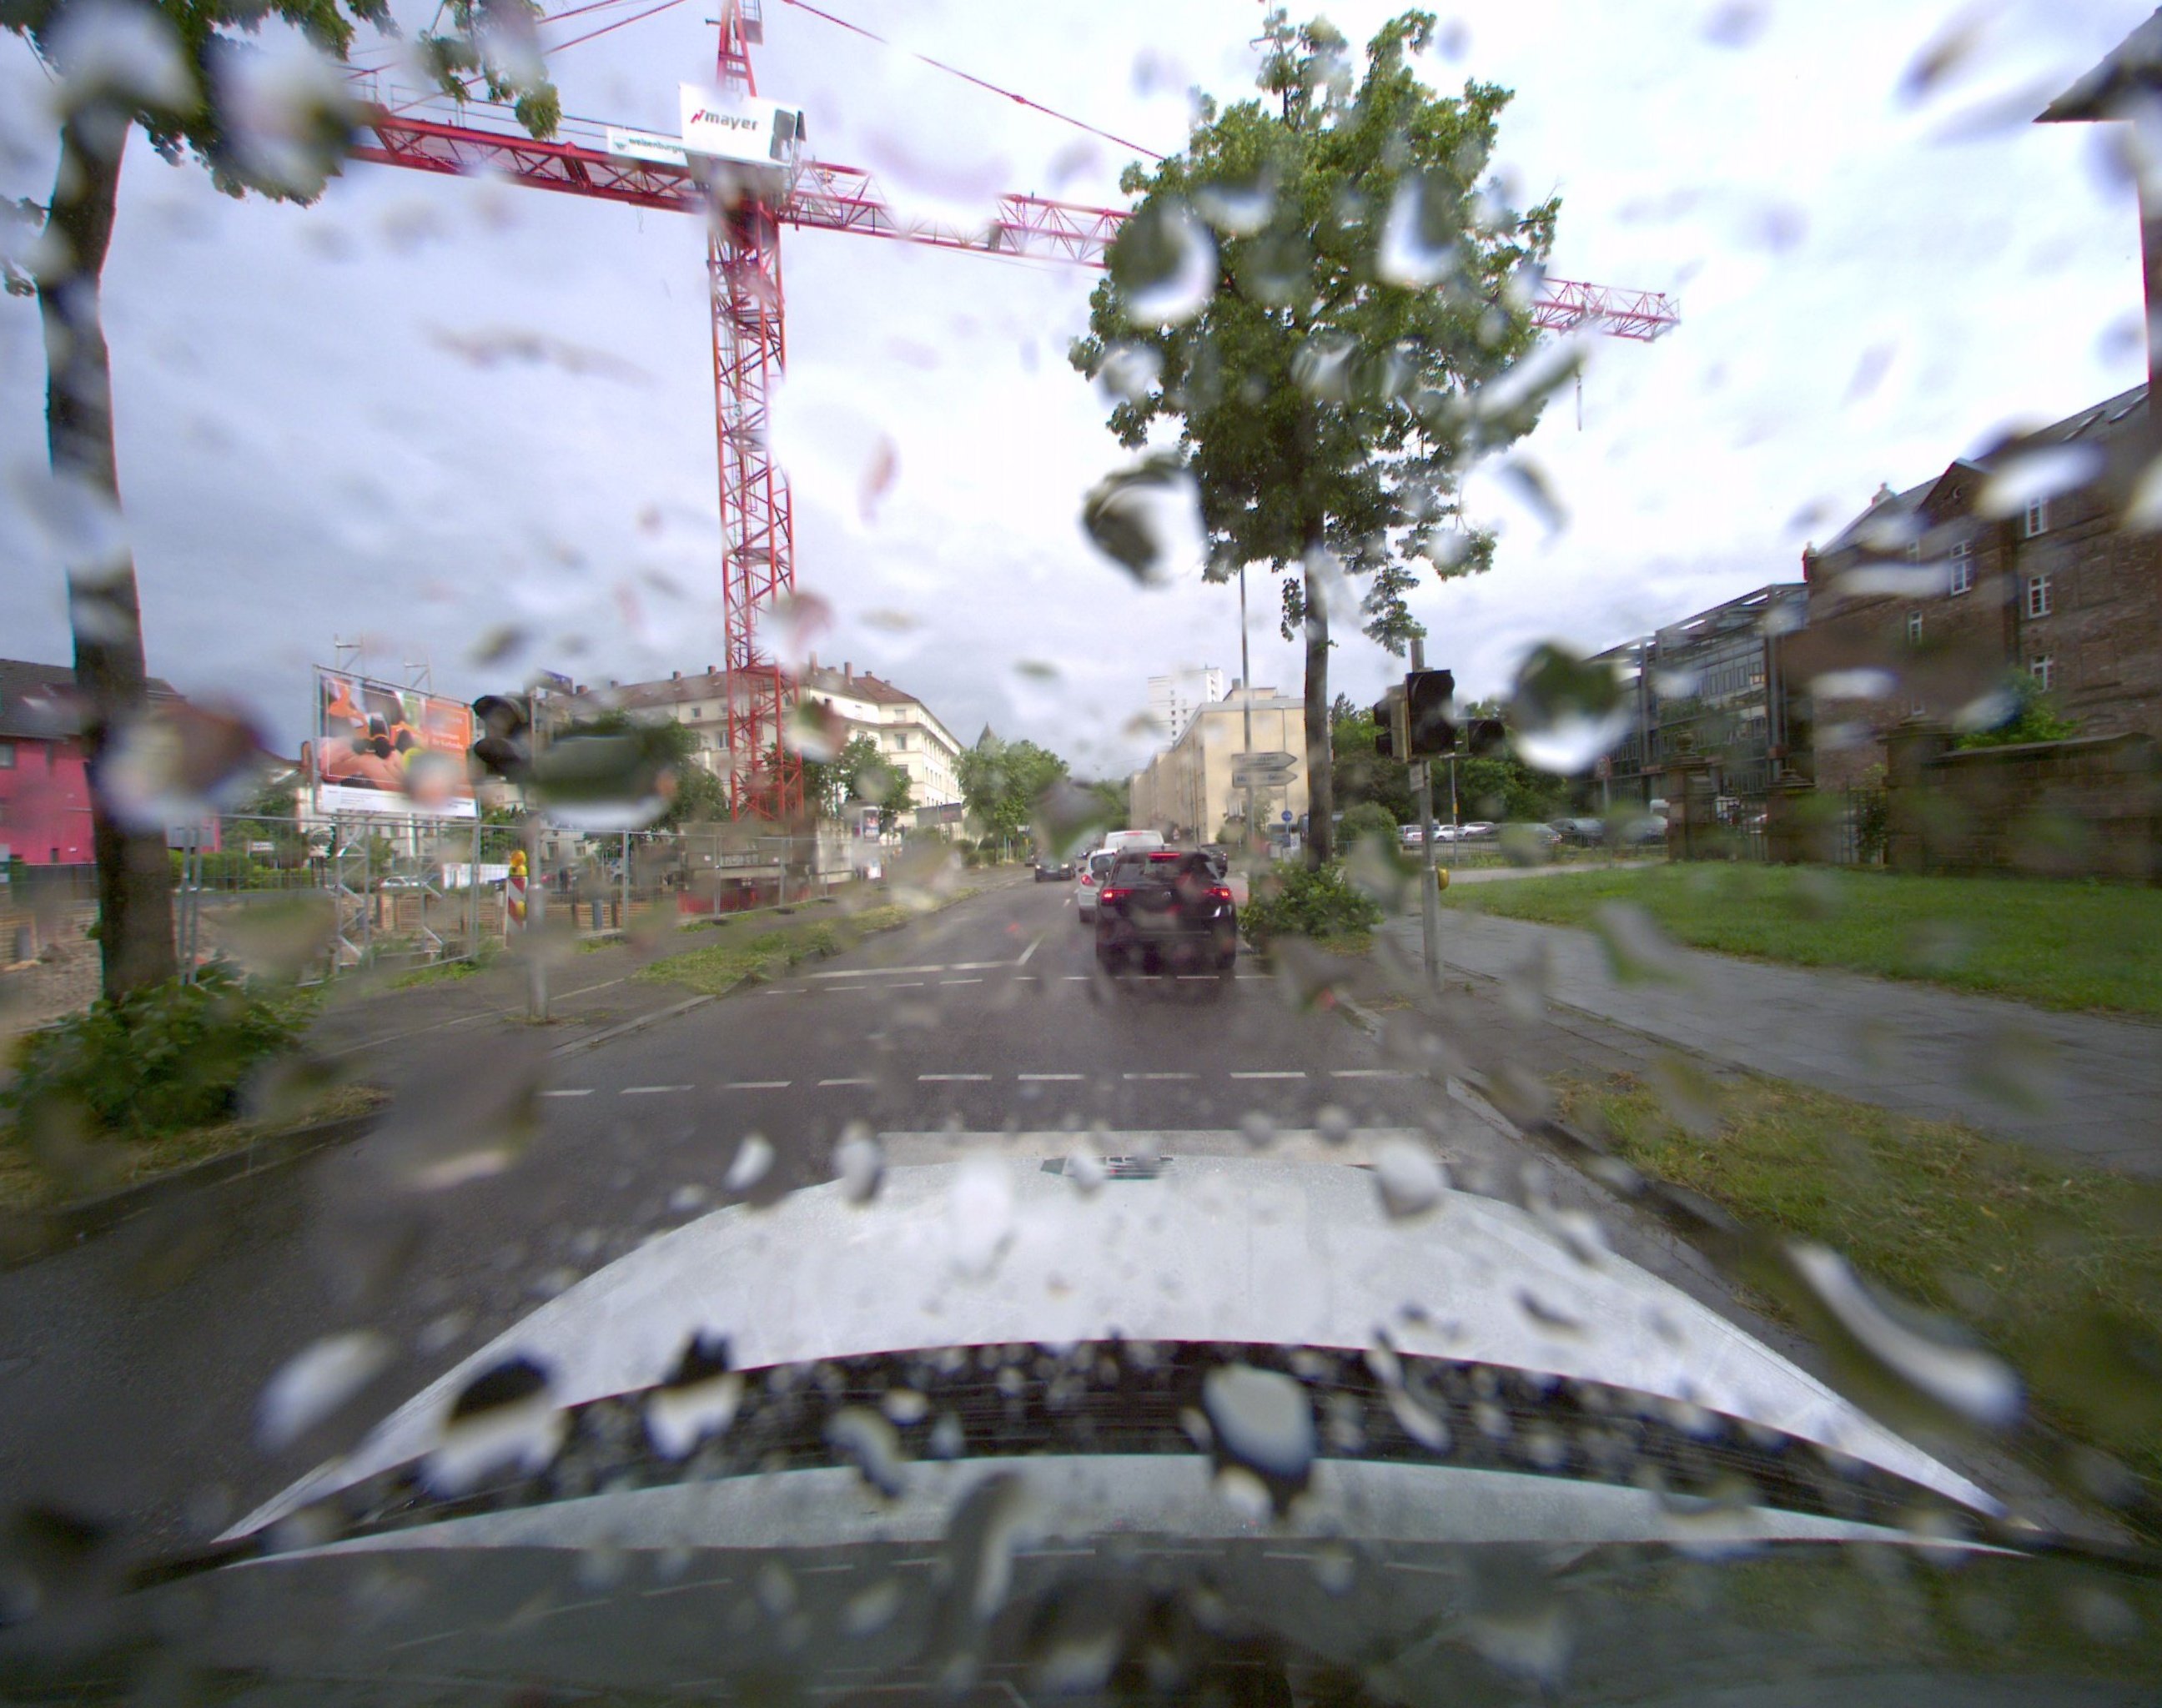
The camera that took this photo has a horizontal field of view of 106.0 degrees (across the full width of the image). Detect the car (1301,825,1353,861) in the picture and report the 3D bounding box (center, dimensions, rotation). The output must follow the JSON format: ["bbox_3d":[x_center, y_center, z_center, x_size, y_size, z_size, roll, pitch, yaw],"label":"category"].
[{"bbox_3d":[13.188,-0.583,43.891,1.795,1.749,4.244,-3,1,5],"label":"car"}]

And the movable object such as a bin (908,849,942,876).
[{"bbox_3d":[-10.421,0.554,54.342,1.524,1.656,1.536,-3,1,21],"label":"movable object such as a bin"}]

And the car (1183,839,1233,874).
[{"bbox_3d":[6.327,0.102,41.094,1.768,1.539,4.379,-5,1,1],"label":"car"}]

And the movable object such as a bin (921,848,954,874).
[{"bbox_3d":[-9.825,0.489,55.889,1.524,1.674,1.675,-3,1,21],"label":"movable object such as a bin"}]

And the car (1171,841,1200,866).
[{"bbox_3d":[6.711,0.007,52.571,1.748,1.528,4.006,1,-1,6],"label":"car"}]

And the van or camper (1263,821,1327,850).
[{"bbox_3d":[17.432,-1.509,66.492,4.736,2.131,2.325,-2,1,5],"label":"van or camper"}]

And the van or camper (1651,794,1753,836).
[{"bbox_3d":[39.735,-2.472,52.225,4.768,2.486,2.259,-1,0,1],"label":"van or camper"}]

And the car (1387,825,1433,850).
[{"bbox_3d":[20.877,-1.035,51.775,1.641,1.486,3.724,-3,1,5],"label":"car"}]

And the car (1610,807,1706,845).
[{"bbox_3d":[28.606,-1.347,40.550,1.845,1.679,4.429,-3,1,4],"label":"car"}]

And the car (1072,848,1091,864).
[{"bbox_3d":[0.101,0.173,90.794,1.833,1.607,4.004,-4,0,3],"label":"car"}]

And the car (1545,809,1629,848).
[{"bbox_3d":[24.896,-1.227,40.263,1.843,1.679,4.433,-3,1,8],"label":"car"}]

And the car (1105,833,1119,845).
[{"bbox_3d":[4.558,-2.222,120.578,1.833,1.607,3.679,-4,0,3],"label":"car"}]

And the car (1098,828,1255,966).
[{"bbox_3d":[1.228,0.523,11.872,1.866,1.645,4.064,-1,0,2],"label":"car"}]

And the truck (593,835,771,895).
[{"bbox_3d":[-24.946,0.658,51.052,9.738,3.184,3.808,-3,0,16],"label":"truck"}]

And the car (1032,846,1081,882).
[{"bbox_3d":[-1.085,0.437,37.766,1.805,1.540,3.986,-2,0,4],"label":"car"}]

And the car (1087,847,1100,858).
[{"bbox_3d":[1.982,-0.204,130.240,1.733,1.607,3.679,-4,0,3],"label":"car"}]

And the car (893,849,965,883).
[{"bbox_3d":[-9.043,0.716,48.261,3.995,1.637,1.885,-5,-1,-15],"label":"car"}]

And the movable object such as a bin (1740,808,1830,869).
[{"bbox_3d":[18.328,-0.398,21.245,1.101,1.457,1.392,-4,1,3],"label":"movable object such as a bin"}]

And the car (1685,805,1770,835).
[{"bbox_3d":[38.983,-2.033,49.156,3.650,1.576,1.674,-3,0,3],"label":"car"}]

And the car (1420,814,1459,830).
[{"bbox_3d":[35.886,-3.190,81.590,3.209,1.397,1.511,-3,0,5],"label":"car"}]

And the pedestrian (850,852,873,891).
[{"bbox_3d":[-9.371,0.725,34.742,0.727,1.629,0.677,0,-1,-35],"label":"pedestrian"}]

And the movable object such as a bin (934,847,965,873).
[{"bbox_3d":[-9.261,0.404,57.391,1.524,1.661,1.466,-3,1,21],"label":"movable object such as a bin"}]

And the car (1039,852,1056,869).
[{"bbox_3d":[-3.334,0.661,81.794,1.582,1.505,4.061,-4,1,-2],"label":"car"}]

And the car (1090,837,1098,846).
[{"bbox_3d":[3.011,-2.887,183.604,1.660,1.837,4.000,-3,1,0],"label":"car"}]

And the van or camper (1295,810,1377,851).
[{"bbox_3d":[17.524,-1.595,56.131,4.977,2.554,2.177,-2,0,3],"label":"van or camper"}]

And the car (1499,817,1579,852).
[{"bbox_3d":[22.574,-0.954,40.340,1.819,1.527,4.432,-3,1,7],"label":"car"}]

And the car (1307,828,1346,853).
[{"bbox_3d":[15.820,-0.876,52.570,1.604,1.448,3.420,-3,1,4],"label":"car"}]

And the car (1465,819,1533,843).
[{"bbox_3d":[29.851,-1.620,58.192,3.957,1.465,1.674,-3,0,3],"label":"car"}]

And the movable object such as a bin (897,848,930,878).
[{"bbox_3d":[-10.835,0.585,52.812,1.524,1.824,1.270,-3,1,21],"label":"movable object such as a bin"}]

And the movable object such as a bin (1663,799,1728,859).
[{"bbox_3d":[15.921,-0.647,21.131,0.796,1.457,1.098,-4,1,3],"label":"movable object such as a bin"}]

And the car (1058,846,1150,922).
[{"bbox_3d":[0.541,0.606,18.181,1.806,1.503,4.002,-1,0,2],"label":"car"}]

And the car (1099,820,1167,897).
[{"bbox_3d":[1.576,0.136,24.469,1.828,2.103,4.004,-1,0,4],"label":"car"}]

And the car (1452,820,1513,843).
[{"bbox_3d":[29.838,-1.694,60.577,3.649,1.486,1.642,-3,0,5],"label":"car"}]

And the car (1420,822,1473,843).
[{"bbox_3d":[30.590,-1.791,68.210,3.649,1.486,1.642,-3,0,5],"label":"car"}]

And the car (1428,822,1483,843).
[{"bbox_3d":[30.239,-1.745,65.893,3.649,1.486,1.642,-3,0,5],"label":"car"}]
